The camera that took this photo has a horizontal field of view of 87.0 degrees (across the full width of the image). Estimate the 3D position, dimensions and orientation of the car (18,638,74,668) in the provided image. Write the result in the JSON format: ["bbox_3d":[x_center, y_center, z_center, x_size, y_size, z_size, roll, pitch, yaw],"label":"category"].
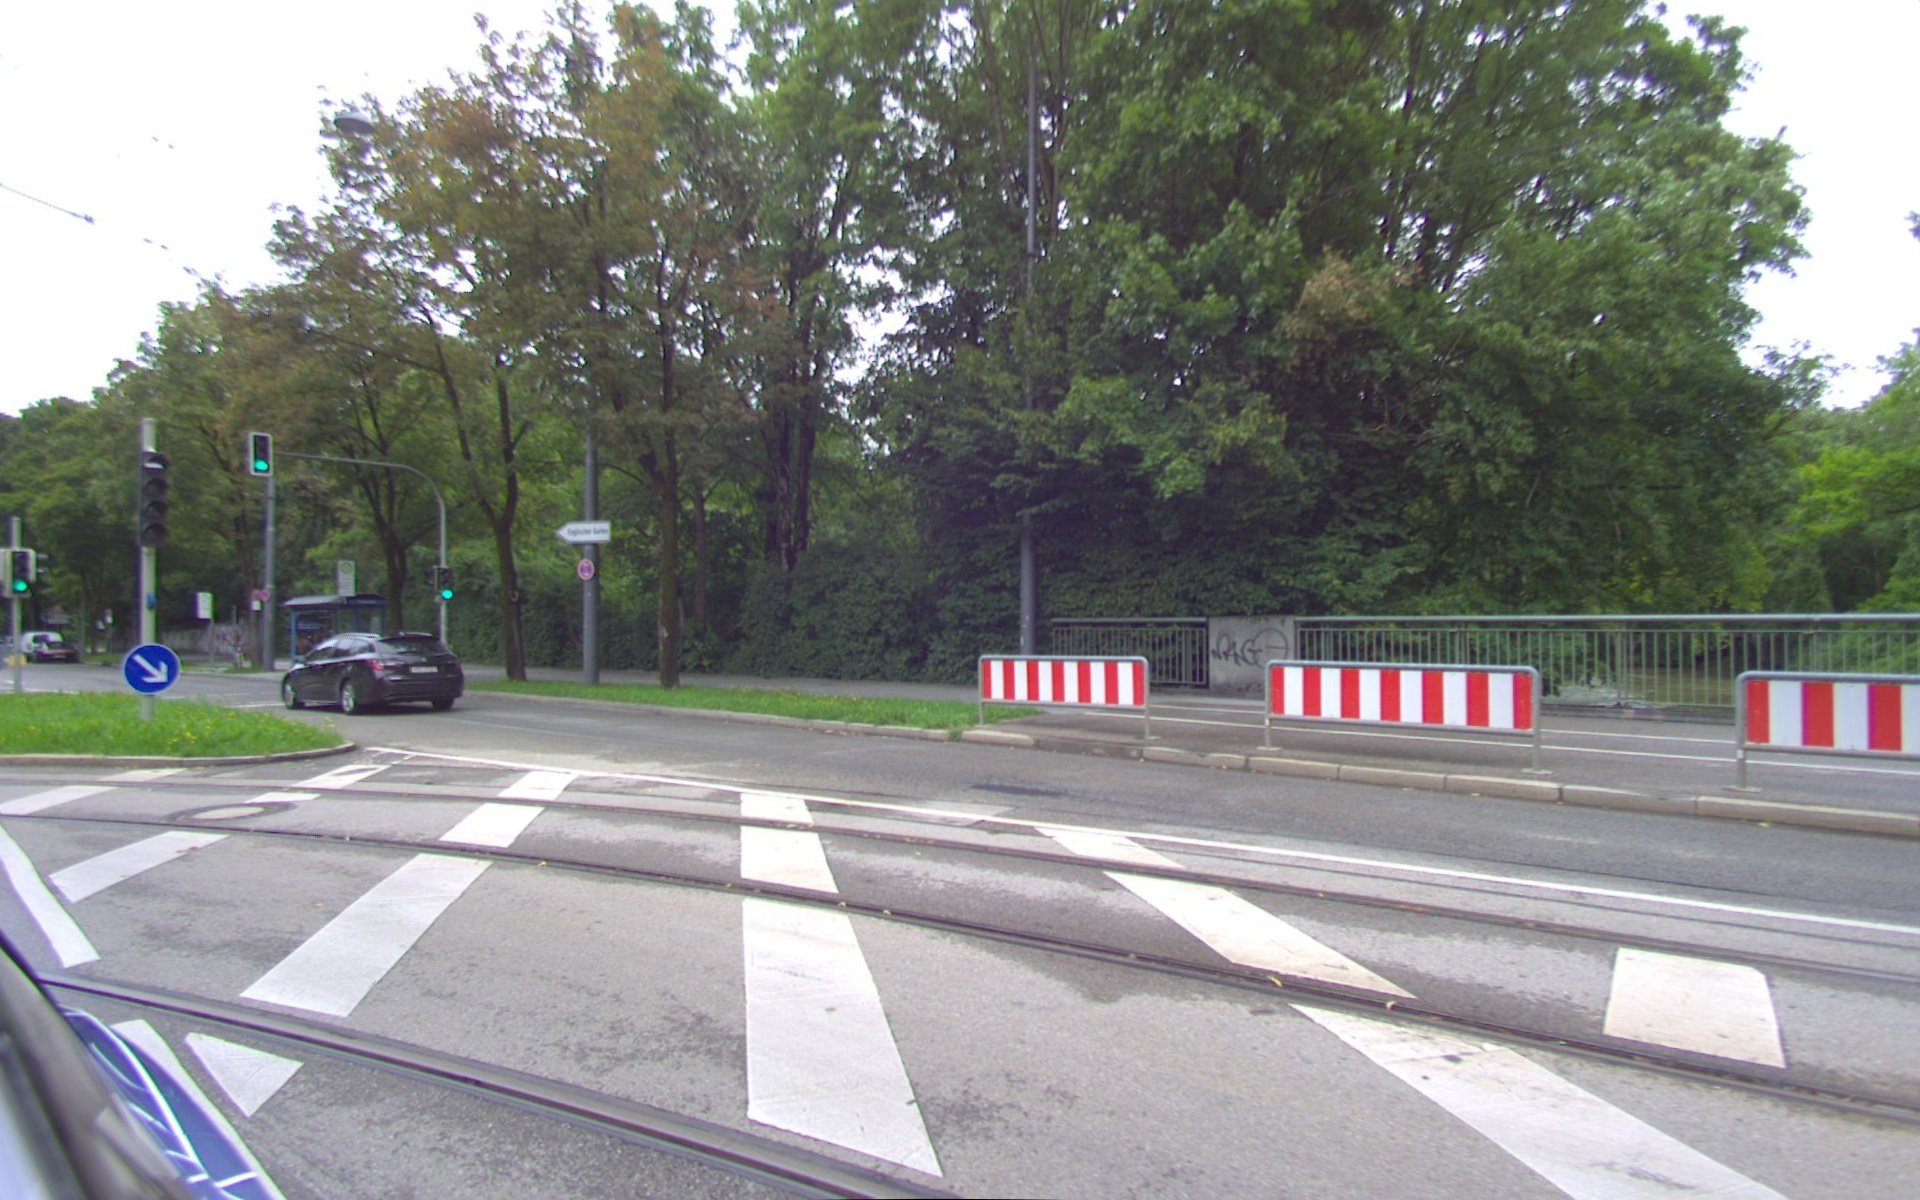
[{"bbox_3d":[-52.135,2.989,57.713,3.997,1.552,1.864,-1,0,41],"label":"car"}]

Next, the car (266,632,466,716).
[{"bbox_3d":[-11.194,1.328,18.923,4.834,1.399,1.607,-2,-4,39],"label":"car"}]

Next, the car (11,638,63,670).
[{"bbox_3d":[-56.264,3.274,61.668,3.997,1.739,1.864,-1,0,41],"label":"car"}]

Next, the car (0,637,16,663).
[{"bbox_3d":[-67.675,3.505,70.885,3.997,1.739,1.864,-1,0,41],"label":"car"}]

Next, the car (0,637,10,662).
[{"bbox_3d":[-71.430,3.668,74.398,3.997,1.739,1.864,-1,0,41],"label":"car"}]
